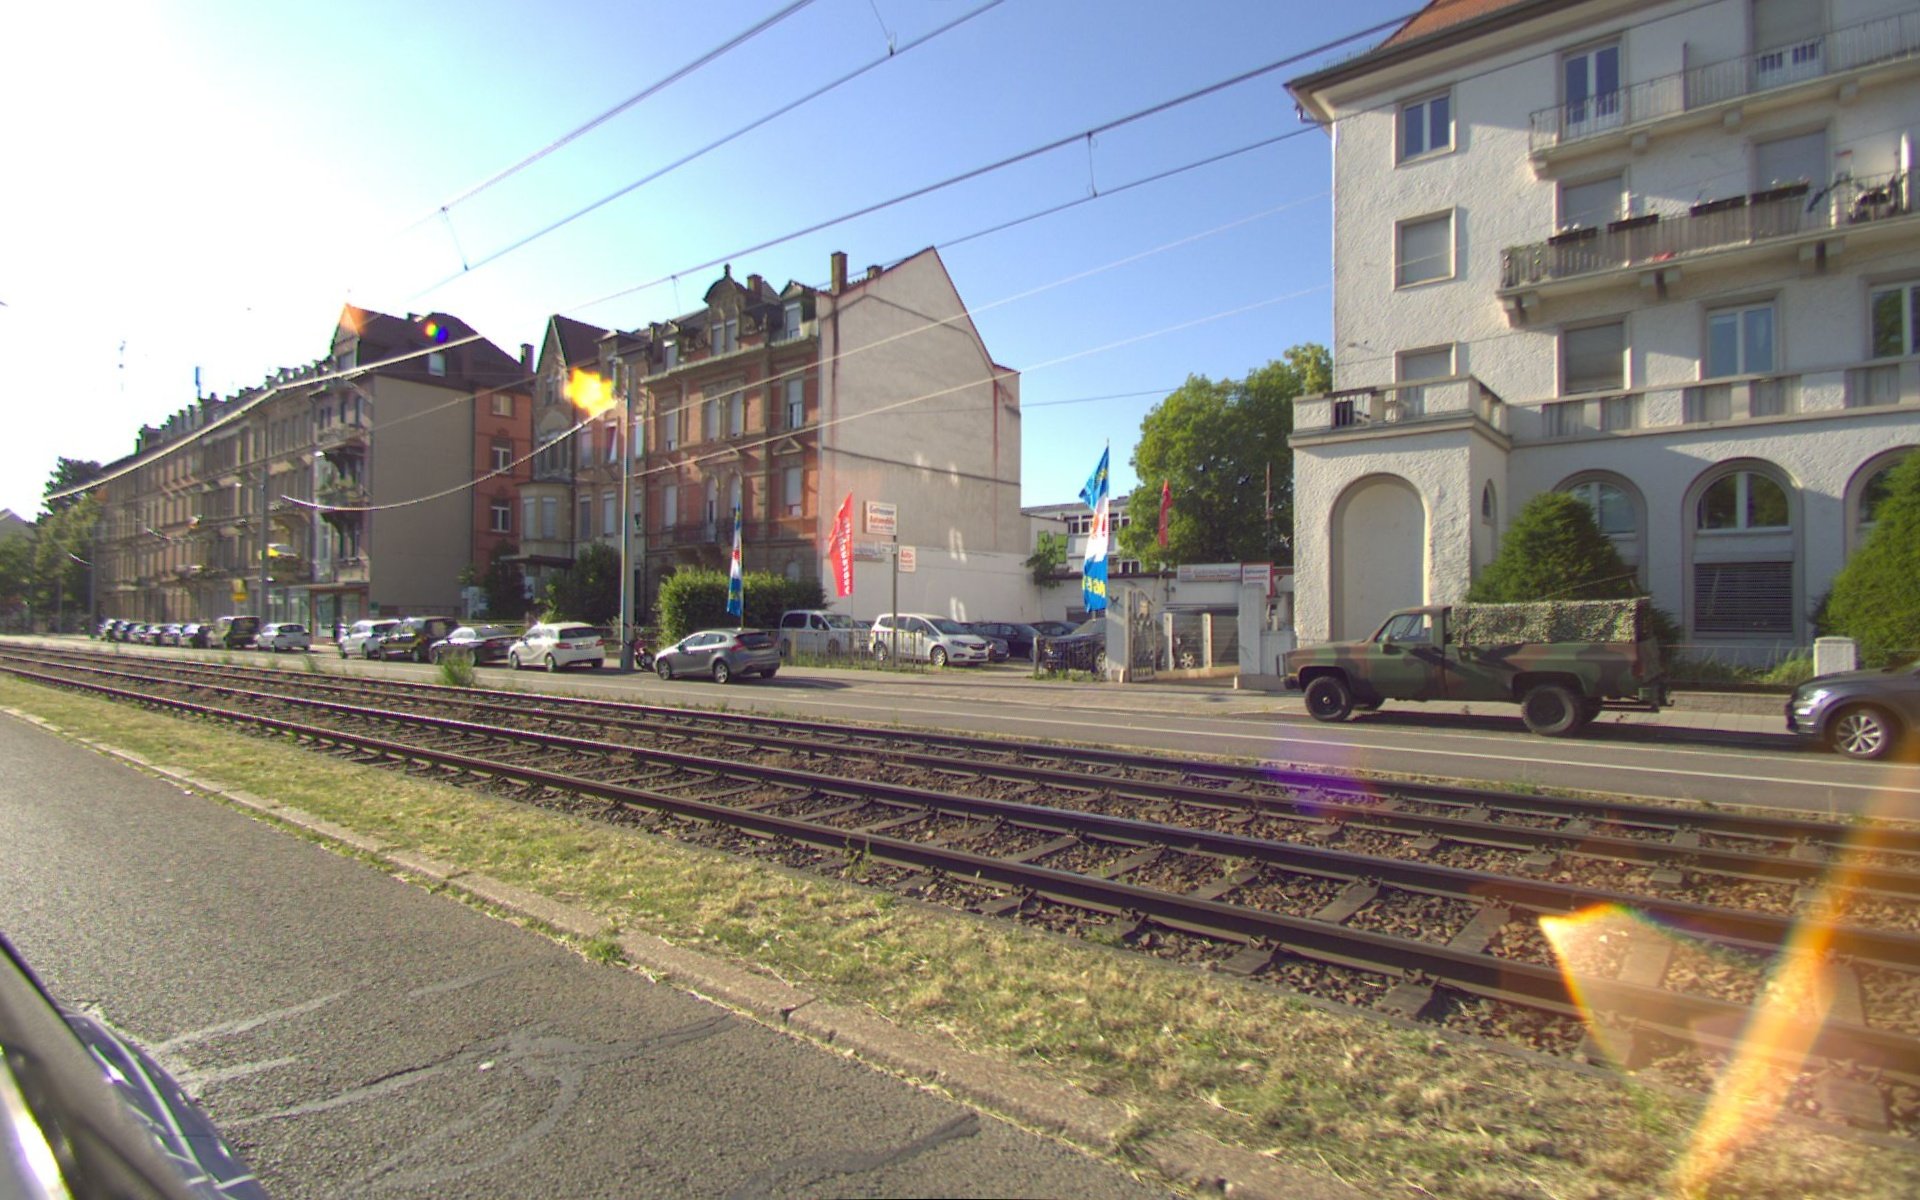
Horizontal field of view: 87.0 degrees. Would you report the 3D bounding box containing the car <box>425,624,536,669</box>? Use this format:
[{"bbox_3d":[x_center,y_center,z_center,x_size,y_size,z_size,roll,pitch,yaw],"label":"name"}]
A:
[{"bbox_3d":[-18.193,1.711,38.296,4.837,1.572,1.902,-1,0,39],"label":"car"}]

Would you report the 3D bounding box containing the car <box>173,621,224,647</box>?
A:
[{"bbox_3d":[-46.083,2.047,61.230,3.977,1.457,1.643,-1,0,40],"label":"car"}]

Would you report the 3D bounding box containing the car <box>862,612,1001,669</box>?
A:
[{"bbox_3d":[-0.987,1.291,33.322,4.563,1.668,1.883,1,-1,44],"label":"car"}]

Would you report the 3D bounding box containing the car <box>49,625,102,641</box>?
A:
[{"bbox_3d":[-94.604,3.486,108.319,3.931,1.521,1.806,-1,1,-29],"label":"car"}]

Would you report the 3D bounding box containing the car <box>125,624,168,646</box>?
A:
[{"bbox_3d":[-57.677,2.467,71.712,3.977,1.457,1.643,-1,0,40],"label":"car"}]

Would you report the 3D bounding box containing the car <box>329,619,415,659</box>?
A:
[{"bbox_3d":[-26.450,1.724,45.447,4.624,1.696,1.901,-2,-2,40],"label":"car"}]

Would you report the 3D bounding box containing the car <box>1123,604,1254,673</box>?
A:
[{"bbox_3d":[7.196,1.211,31.734,4.020,2.018,1.991,1,-3,-41],"label":"car"}]

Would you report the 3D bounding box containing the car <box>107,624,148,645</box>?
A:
[{"bbox_3d":[-61.656,2.506,74.934,3.762,1.457,1.643,-1,0,40],"label":"car"}]

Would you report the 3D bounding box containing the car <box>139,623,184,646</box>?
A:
[{"bbox_3d":[-54.031,2.284,68.478,3.977,1.457,1.643,-1,0,40],"label":"car"}]

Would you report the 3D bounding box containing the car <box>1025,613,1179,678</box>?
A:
[{"bbox_3d":[3.930,1.237,27.669,4.077,1.646,1.954,2,-4,-41],"label":"car"}]

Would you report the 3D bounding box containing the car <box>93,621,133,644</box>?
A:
[{"bbox_3d":[-65.220,2.480,77.901,4.629,1.655,1.775,-1,0,42],"label":"car"}]

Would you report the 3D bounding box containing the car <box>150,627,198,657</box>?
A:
[{"bbox_3d":[-49.852,2.625,64.155,3.977,1.749,1.643,-1,0,40],"label":"car"}]

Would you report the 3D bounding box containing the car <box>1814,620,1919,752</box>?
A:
[{"bbox_3d":[12.811,1.048,11.937,4.158,1.518,1.618,0,1,42],"label":"car"}]

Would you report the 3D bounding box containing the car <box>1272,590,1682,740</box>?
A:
[{"bbox_3d":[8.179,0.912,16.434,5.590,2.025,2.055,-1,0,42],"label":"car"}]

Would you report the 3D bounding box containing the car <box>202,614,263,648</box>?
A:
[{"bbox_3d":[-41.856,1.755,58.161,4.722,1.821,1.643,-1,0,39],"label":"car"}]

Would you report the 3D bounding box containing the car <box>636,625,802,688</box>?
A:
[{"bbox_3d":[-6.860,1.528,28.530,4.836,1.471,1.903,-1,3,38],"label":"car"}]

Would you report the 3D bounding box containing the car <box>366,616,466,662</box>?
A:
[{"bbox_3d":[-22.681,1.592,42.170,4.489,1.794,1.904,-1,0,36],"label":"car"}]

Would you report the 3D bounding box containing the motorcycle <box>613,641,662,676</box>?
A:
[{"bbox_3d":[-10.174,1.816,31.858,0.815,0.961,2.156,-1,1,-36],"label":"motorcycle"}]

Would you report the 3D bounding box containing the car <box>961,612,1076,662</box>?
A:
[{"bbox_3d":[2.123,1.318,37.535,4.001,1.698,1.905,0,1,44],"label":"car"}]

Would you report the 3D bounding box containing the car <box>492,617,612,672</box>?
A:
[{"bbox_3d":[-13.979,1.478,34.548,4.841,1.707,1.900,-1,0,42],"label":"car"}]

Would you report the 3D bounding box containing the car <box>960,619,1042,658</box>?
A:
[{"bbox_3d":[1.758,1.644,44.562,1.769,1.521,4.013,-1,1,-29],"label":"car"}]

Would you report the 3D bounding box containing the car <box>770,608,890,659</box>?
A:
[{"bbox_3d":[-4.840,1.202,37.298,4.563,1.668,1.883,1,-1,44],"label":"car"}]

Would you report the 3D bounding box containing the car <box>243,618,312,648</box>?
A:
[{"bbox_3d":[-36.542,1.727,54.166,4.624,1.550,1.901,-1,-1,40],"label":"car"}]
